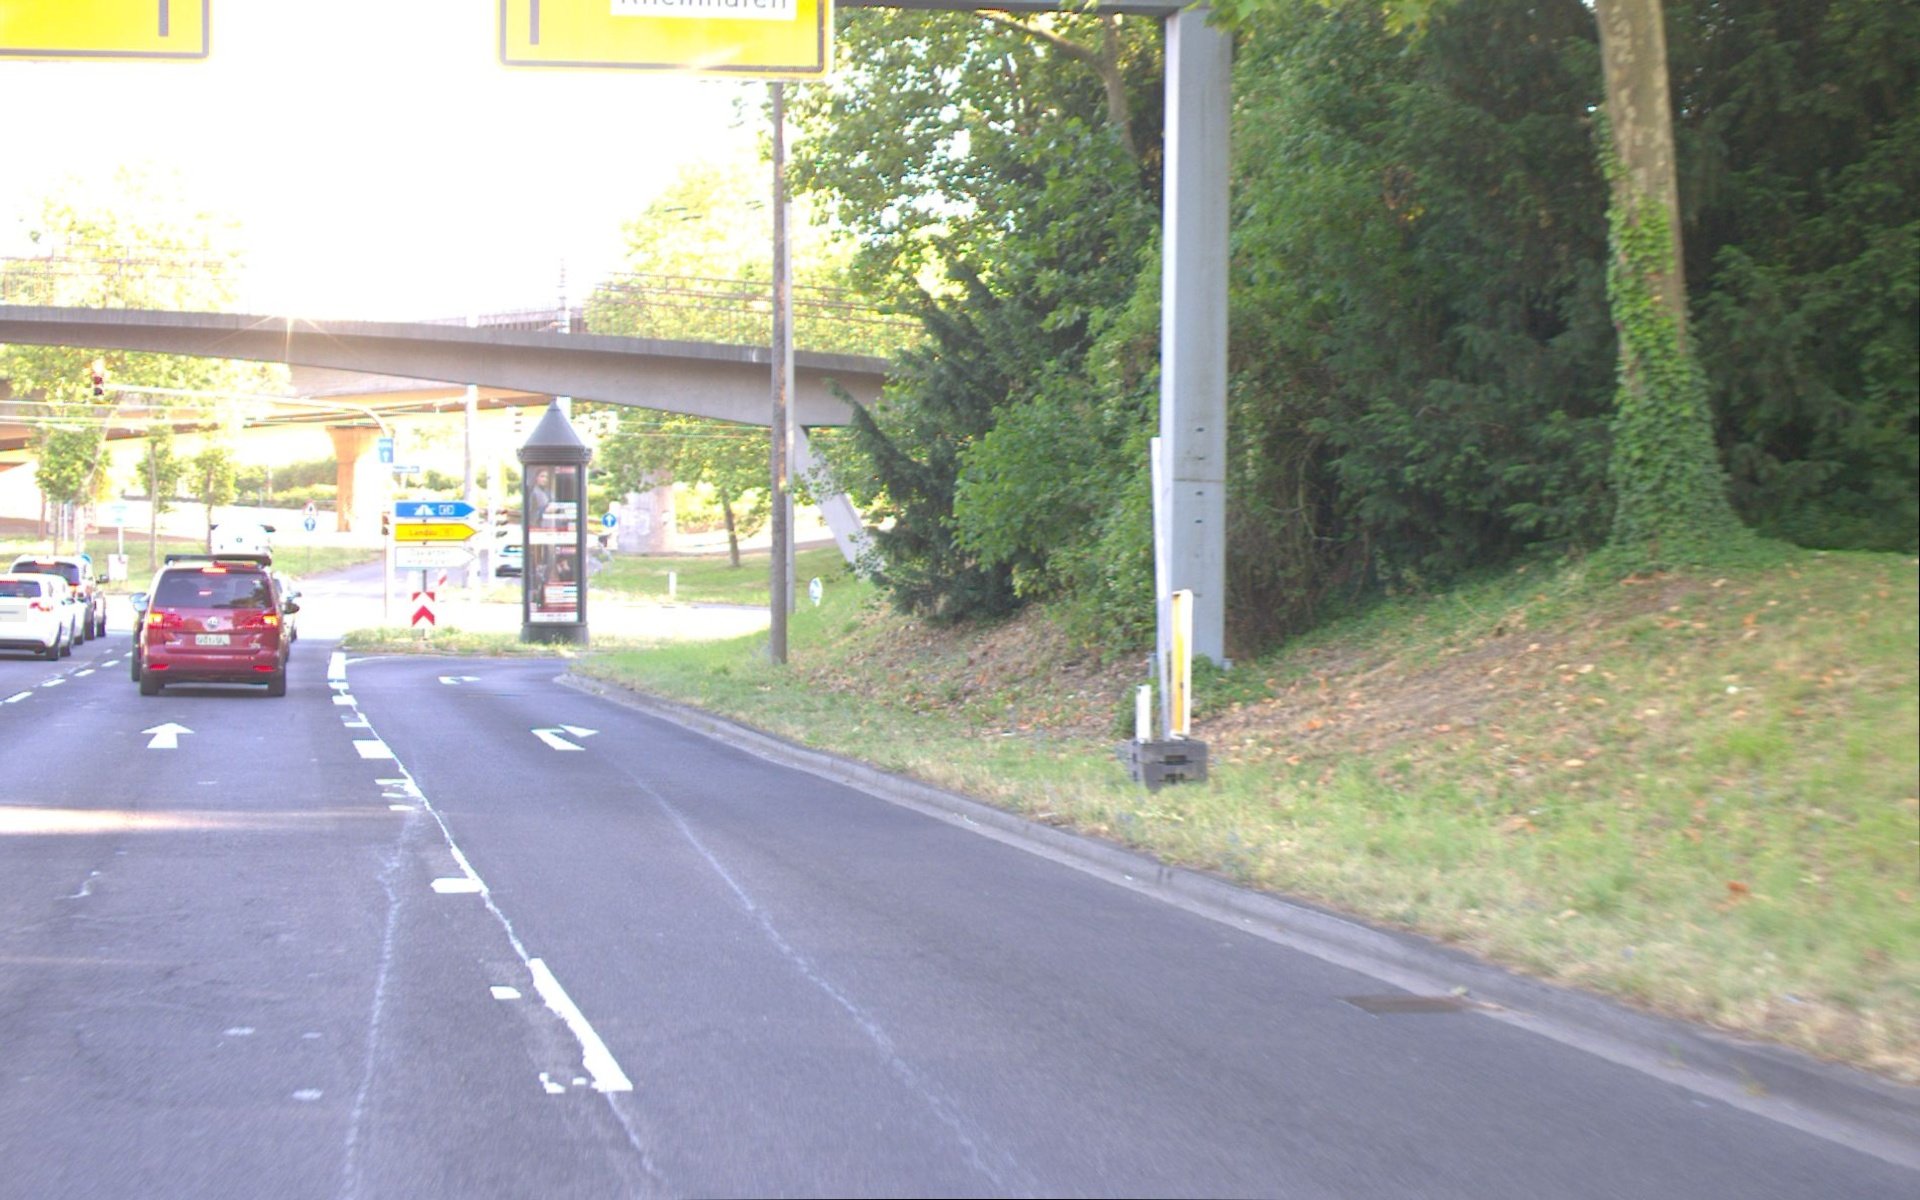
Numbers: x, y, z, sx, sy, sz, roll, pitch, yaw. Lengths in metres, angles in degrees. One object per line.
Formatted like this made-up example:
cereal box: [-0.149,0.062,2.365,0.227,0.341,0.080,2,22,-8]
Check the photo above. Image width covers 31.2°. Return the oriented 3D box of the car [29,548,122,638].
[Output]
car: [-18.803,-0.185,72.946,1.792,1.786,4.828,-2,1,-15]

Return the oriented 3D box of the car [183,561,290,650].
car: [-13.162,0.072,62.729,1.792,1.476,4.001,-2,1,-11]

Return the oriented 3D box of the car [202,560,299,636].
car: [-14.184,-0.065,68.893,1.792,1.378,4.478,-2,1,-11]

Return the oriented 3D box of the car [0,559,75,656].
car: [-16.373,0.112,59.672,1.662,1.560,4.192,-2,1,-11]

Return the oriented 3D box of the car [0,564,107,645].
car: [-17.614,0.065,66.501,1.741,1.427,4.412,1,1,-9]

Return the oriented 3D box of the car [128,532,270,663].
car: [-10.773,-0.076,48.876,1.792,1.744,4.242,-2,1,-11]

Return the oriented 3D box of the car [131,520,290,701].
car: [-9.268,0.080,42.735,1.792,2.098,4.001,-2,1,-11]
